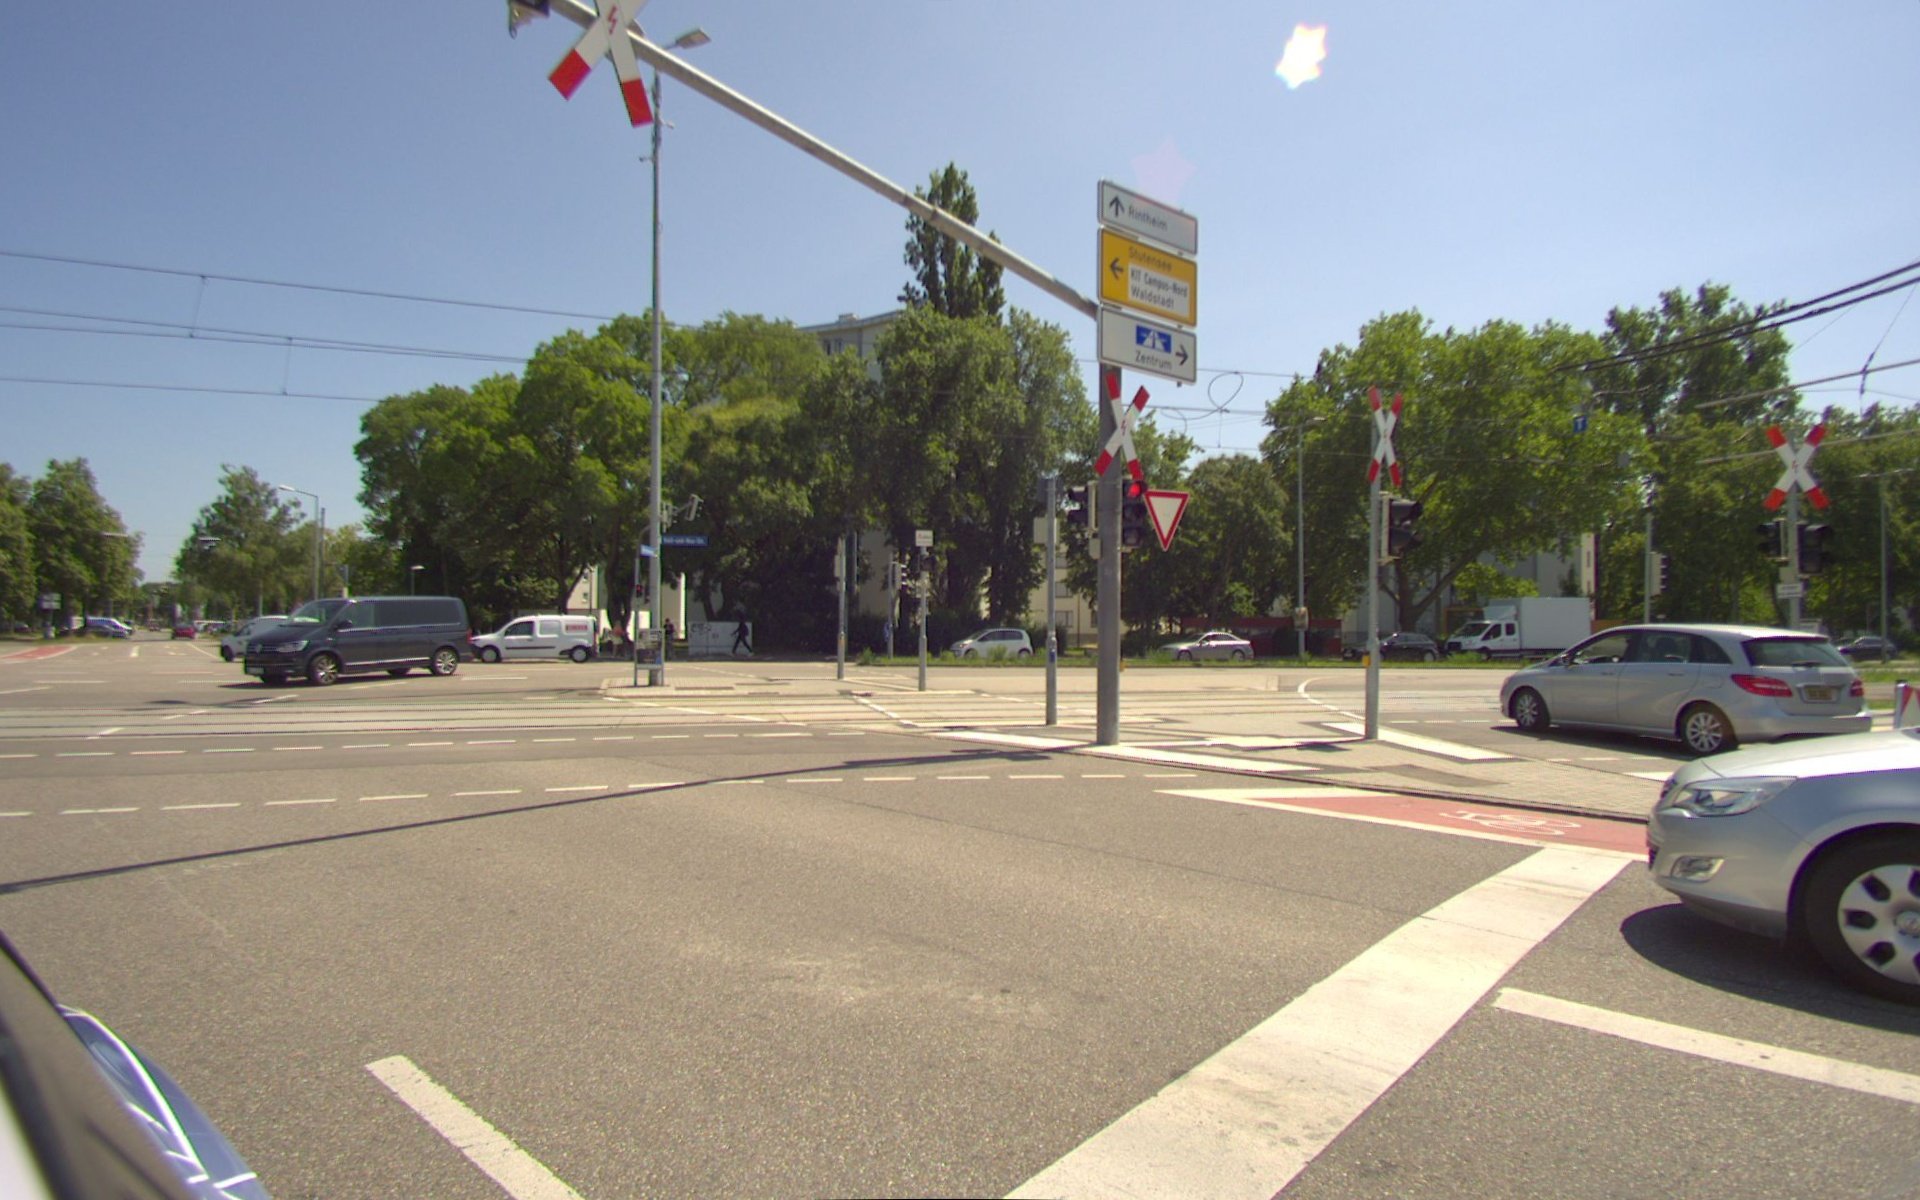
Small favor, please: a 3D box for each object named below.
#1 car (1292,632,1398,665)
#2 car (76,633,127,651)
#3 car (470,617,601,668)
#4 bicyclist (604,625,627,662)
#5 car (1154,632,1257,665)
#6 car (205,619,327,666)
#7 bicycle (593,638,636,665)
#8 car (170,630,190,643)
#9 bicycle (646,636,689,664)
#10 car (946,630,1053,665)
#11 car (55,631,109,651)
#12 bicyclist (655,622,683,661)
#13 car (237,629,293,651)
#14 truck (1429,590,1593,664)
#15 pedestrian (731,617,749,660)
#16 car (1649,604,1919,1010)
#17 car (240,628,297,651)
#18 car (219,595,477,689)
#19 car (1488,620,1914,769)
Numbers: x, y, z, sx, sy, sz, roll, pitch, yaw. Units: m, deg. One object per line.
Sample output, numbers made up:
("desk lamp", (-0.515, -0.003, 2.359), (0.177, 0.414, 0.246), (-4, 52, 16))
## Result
("car", (16.269, 2.058, 42.813), (3.931, 1.296, 1.752), (1, -4, -19))
("car", (-76.481, 3.736, 90.185), (3.437, 1.487, 1.587), (0, -4, -40))
("car", (-15.617, 1.585, 37.452), (4.317, 1.807, 1.902), (1, -4, -19))
("bicyclist", (-14.074, 1.755, 41.338), (0.626, 1.479, 0.610), (2, 0, 27))
("car", (11.133, 2.187, 45.908), (4.143, 1.436, 1.854), (1, -3, -17))
("car", (-27.036, 1.665, 39.421), (4.312, 1.731, 1.798), (-1, -3, 21))
("bicycle", (-14.177, 2.100, 41.556), (1.797, 1.071, 0.610), (-1, -1, 28))
("car", (-77.398, 3.634, 100.481), (1.559, 1.236, 3.499), (0, -4, -38))
("bicycle", (-12.294, 2.108, 42.562), (1.797, 1.071, 0.610), (2, 0, 28))
("car", (1.676, 2.040, 43.259), (4.142, 1.436, 1.854), (1, -3, -17))
("car", (-80.730, 3.772, 93.140), (3.714, 1.742, 1.765), (0, -4, -40))
("bicyclist", (-12.239, 1.741, 42.523), (0.905, 1.556, 0.641), (2, 0, 28))
("car", (-53.301, 3.075, 77.652), (3.437, 1.592, 1.587), (0, -4, -40))
("truck", (28.020, 1.435, 51.474), (7.580, 3.560, 2.596), (1, -4, -17))
("pedestrian", (-9.623, 1.682, 44.223), (0.667, 1.849, 0.609), (1, -1, -19))
("car", (5.105, 0.753, 3.407), (4.411, 1.467, 1.772), (-1, -3, 42))
("car", (-51.935, 2.945, 76.023), (3.437, 1.592, 1.587), (0, -4, -40))
("car", (-13.928, 0.933, 23.390), (1.933, 1.946, 4.801), (-1, -2, 27))
("car", (9.075, 1.090, 12.948), (1.718, 1.558, 4.268), (0, -2, -12))
